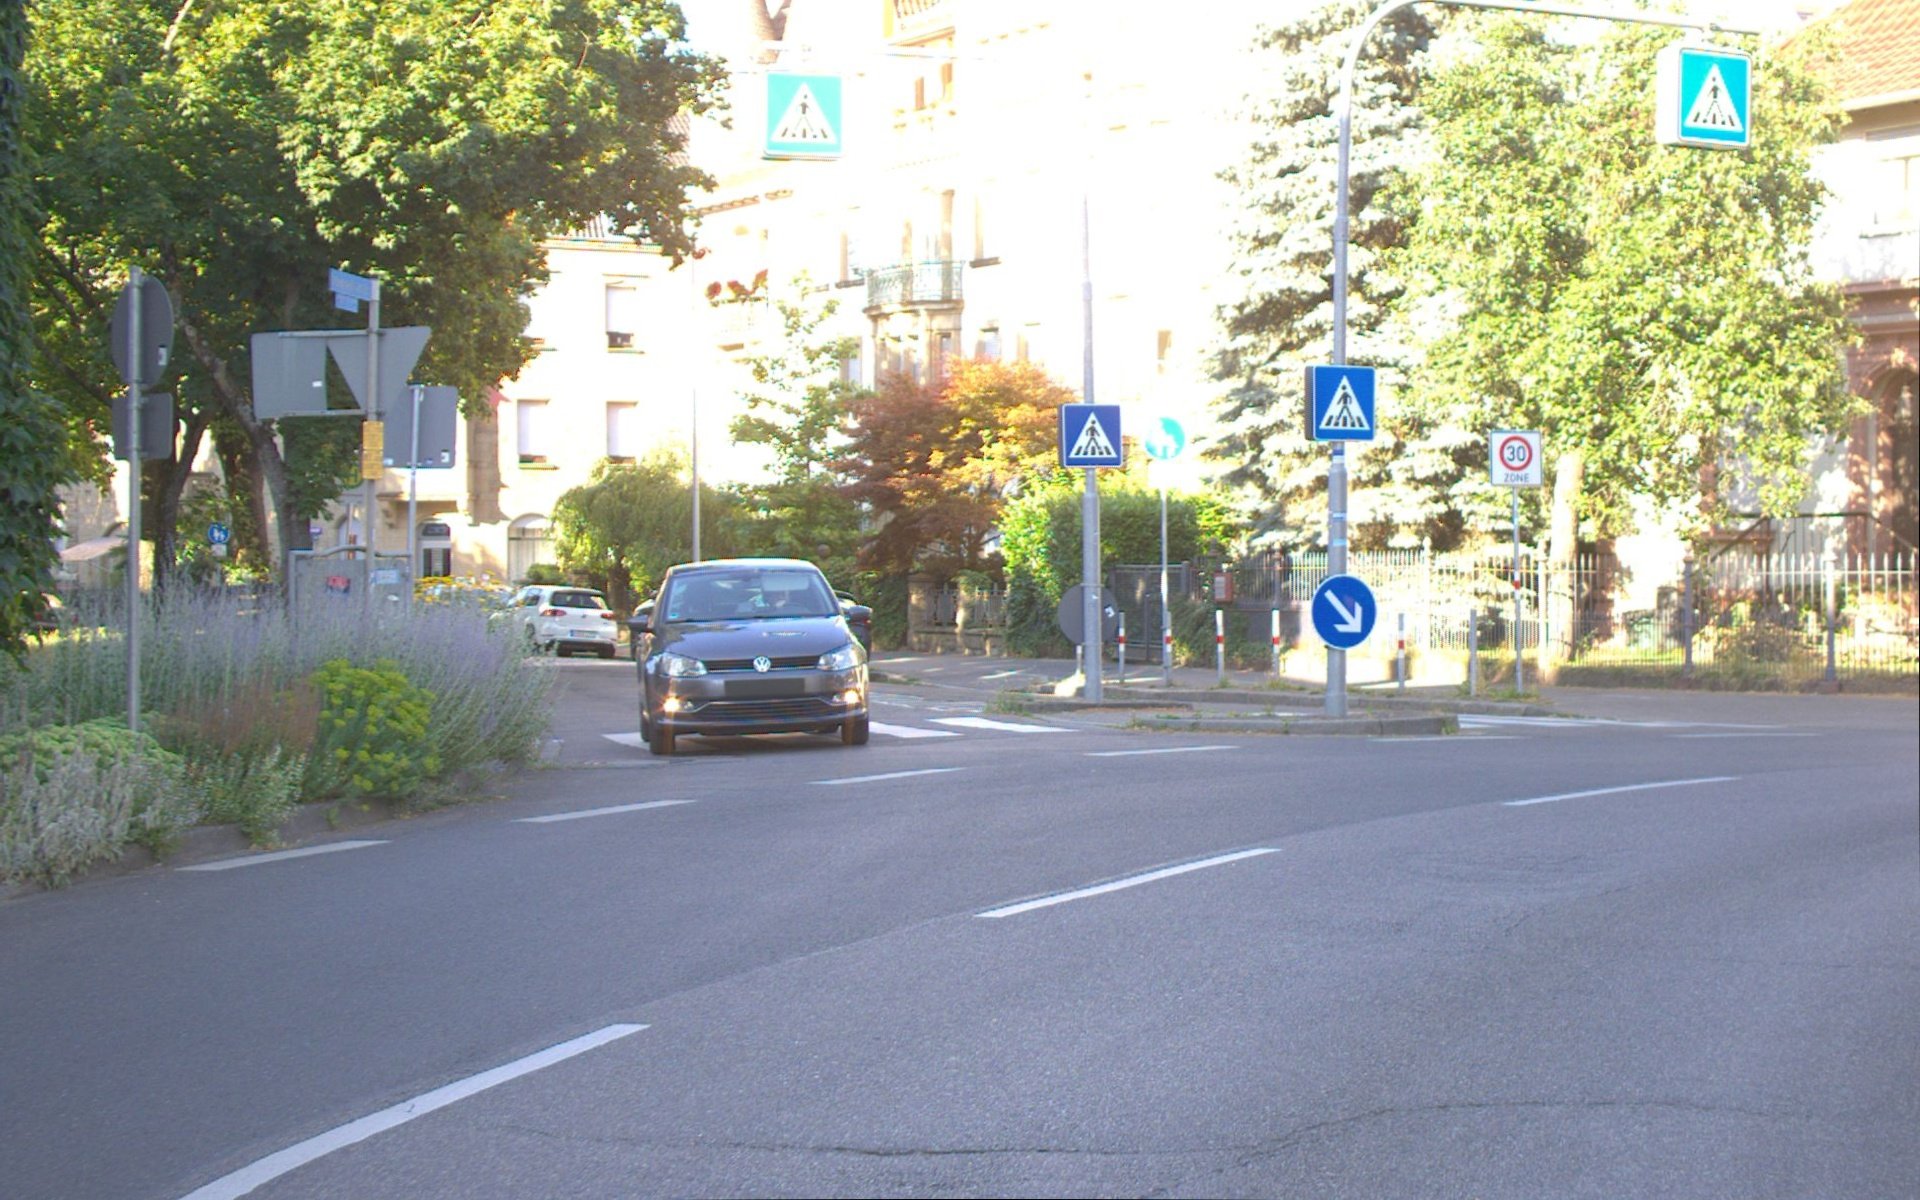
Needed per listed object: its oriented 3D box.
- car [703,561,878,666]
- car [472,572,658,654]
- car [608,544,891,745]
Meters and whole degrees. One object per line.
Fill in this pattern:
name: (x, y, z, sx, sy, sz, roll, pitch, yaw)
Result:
car: (-2.751, 0.206, 54.874, 1.993, 1.590, 4.001, 1, 0, -14)
car: (-8.108, 0.240, 70.146, 2.339, 1.590, 4.930, 1, 0, -24)
car: (-1.708, 0.311, 26.744, 1.712, 1.398, 3.739, -2, 1, -11)
